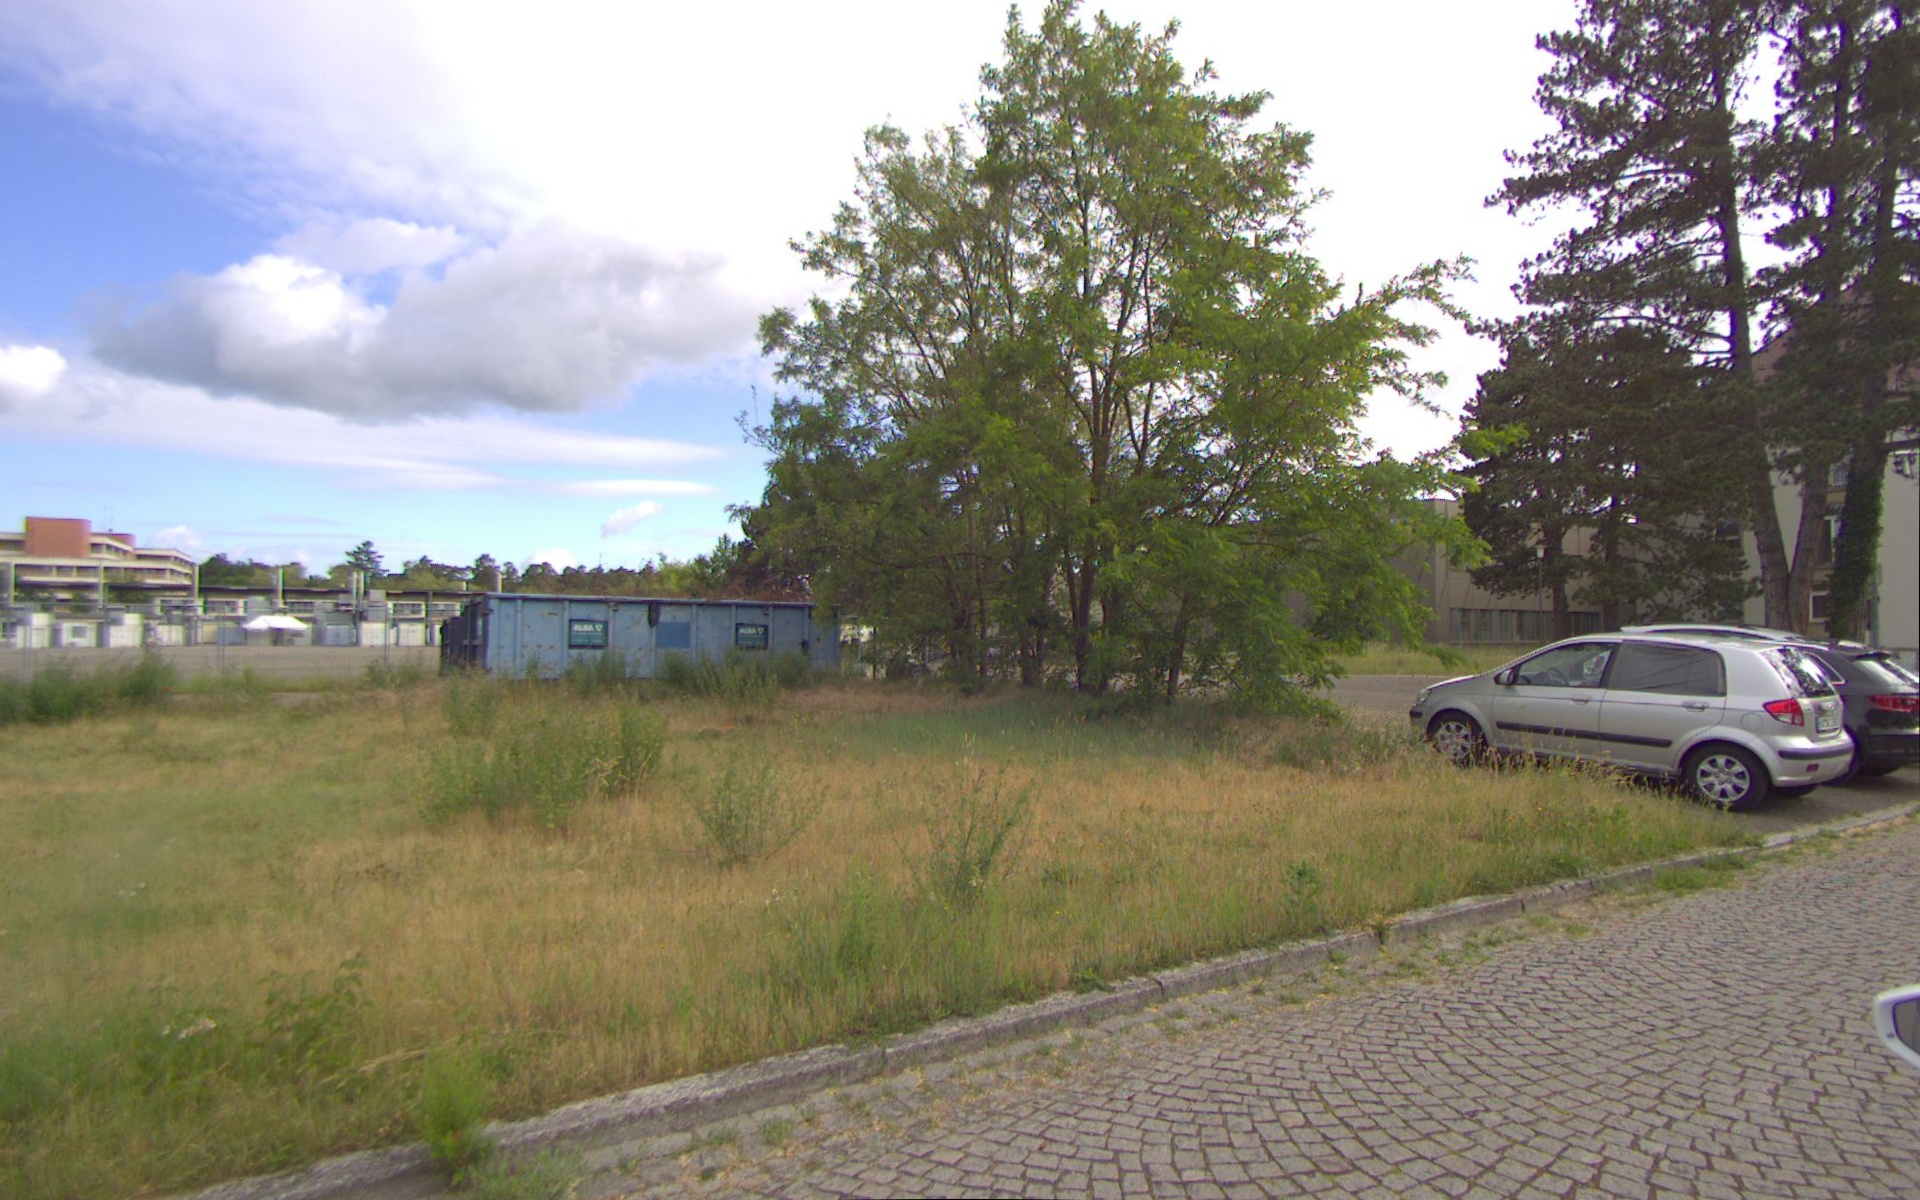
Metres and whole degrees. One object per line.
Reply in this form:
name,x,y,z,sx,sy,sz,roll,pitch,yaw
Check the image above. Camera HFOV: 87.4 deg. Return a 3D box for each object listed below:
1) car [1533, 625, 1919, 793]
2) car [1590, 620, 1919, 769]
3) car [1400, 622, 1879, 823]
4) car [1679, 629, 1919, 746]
car,8.842,1.090,11.432,1.566,1.448,3.723,1,0,-33
car,10.898,1.141,13.369,1.633,1.584,3.923,1,0,-33
car,6.611,1.047,10.161,1.566,1.499,3.680,1,0,-33
car,13.073,1.228,14.614,1.631,1.440,3.926,1,0,-31
